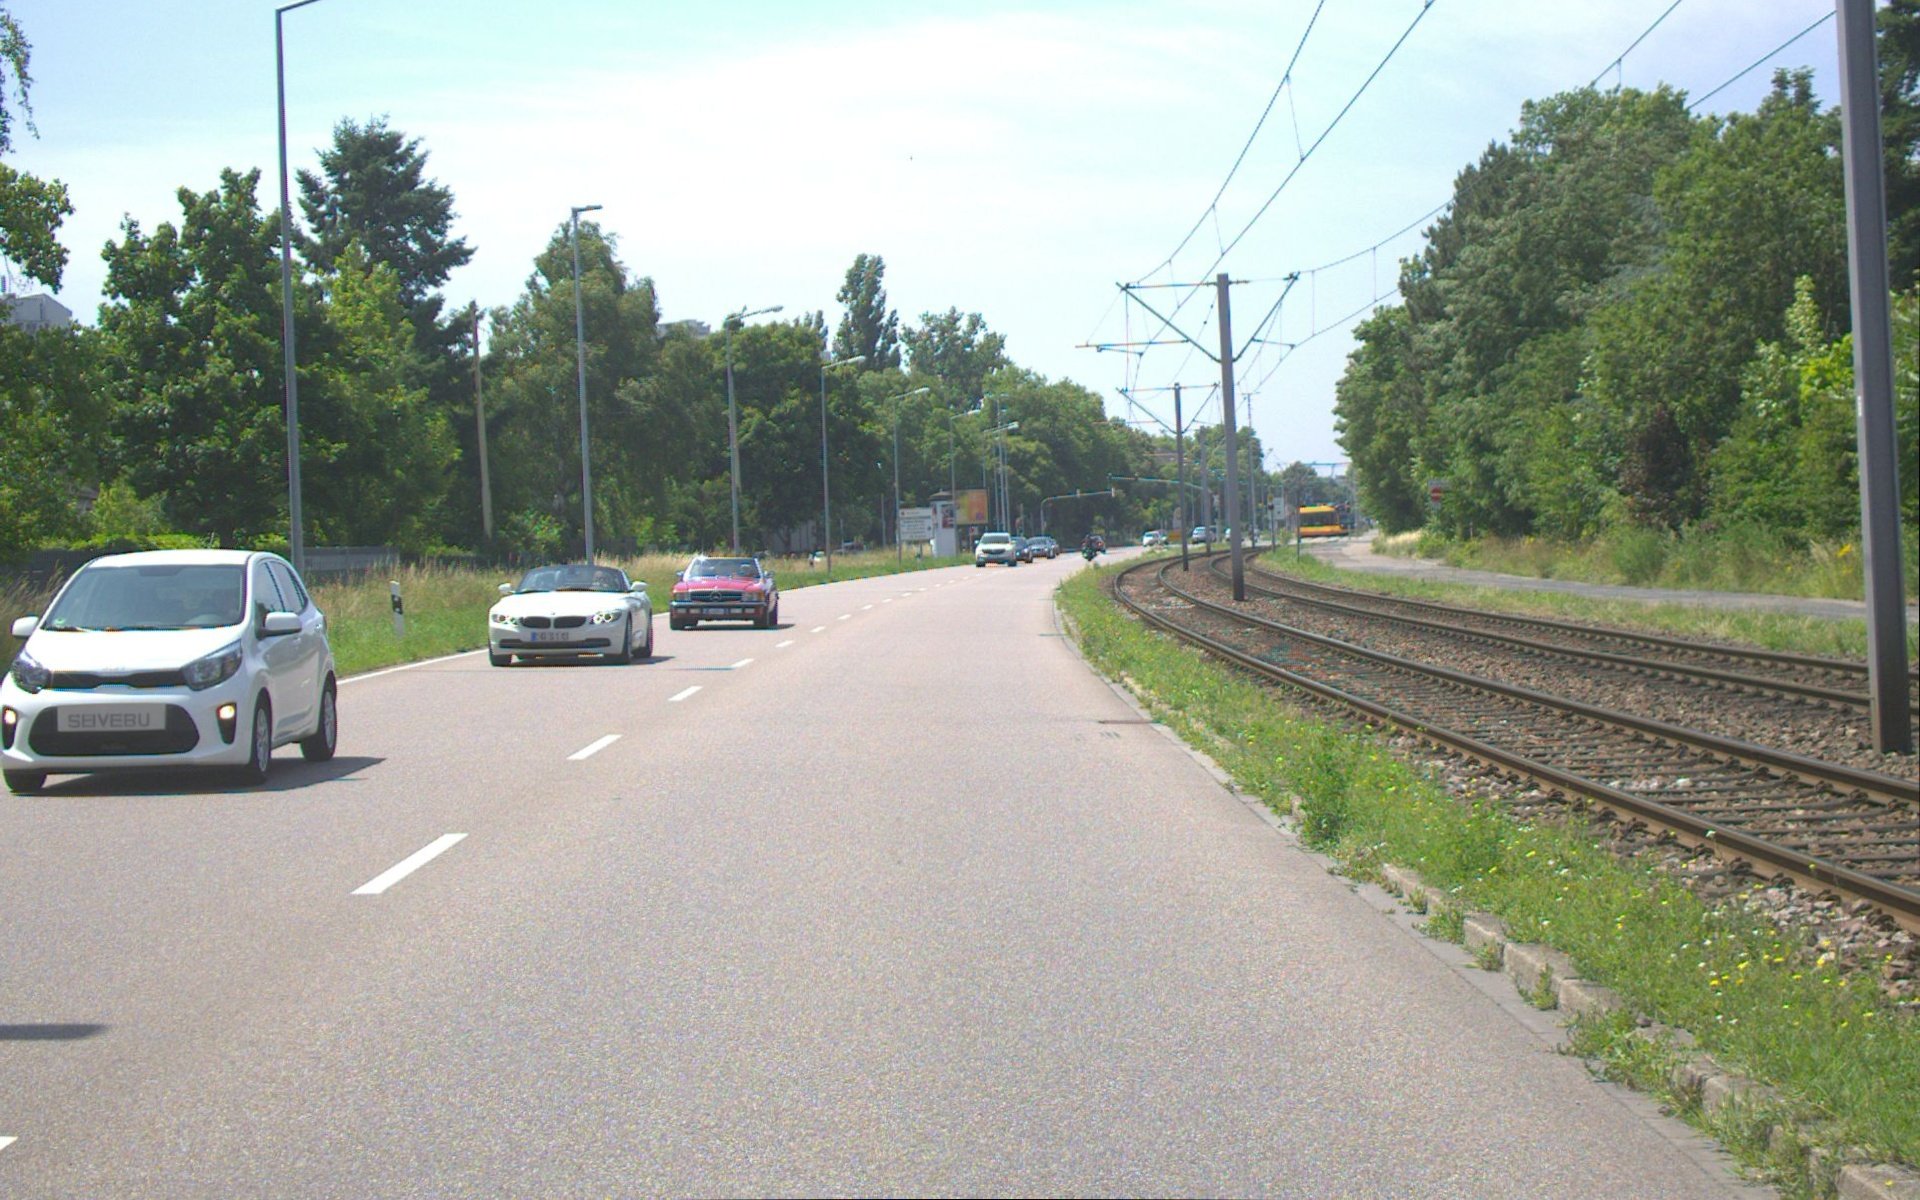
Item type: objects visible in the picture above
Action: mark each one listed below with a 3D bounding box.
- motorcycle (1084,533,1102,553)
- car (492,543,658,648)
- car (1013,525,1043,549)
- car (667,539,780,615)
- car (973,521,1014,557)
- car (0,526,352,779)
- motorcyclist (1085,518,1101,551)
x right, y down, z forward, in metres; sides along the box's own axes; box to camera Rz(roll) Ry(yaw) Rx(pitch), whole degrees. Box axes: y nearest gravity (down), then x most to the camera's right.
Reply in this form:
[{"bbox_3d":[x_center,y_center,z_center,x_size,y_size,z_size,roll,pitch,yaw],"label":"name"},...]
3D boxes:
[{"bbox_3d":[7.733,-3.296,199.342,0.970,1.113,2.732,-1,1,4],"label":"motorcycle"},{"bbox_3d":[-4.893,-0.092,44.115,1.682,1.245,3.909,-1,1,0],"label":"car"},{"bbox_3d":[4.406,-4.025,221.117,1.817,1.488,4.363,-1,1,2],"label":"car"},{"bbox_3d":[-4.274,-0.445,62.648,1.749,1.296,4.254,-1,1,0],"label":"car"},{"bbox_3d":[1.750,-3.169,178.578,1.935,1.790,4.712,-1,1,2],"label":"car"},{"bbox_3d":[-5.216,0.286,22.704,1.747,1.498,3.707,-1,1,-1],"label":"car"},{"bbox_3d":[7.722,-3.819,199.352,0.891,1.898,1.015,-1,1,4],"label":"motorcyclist"}]
